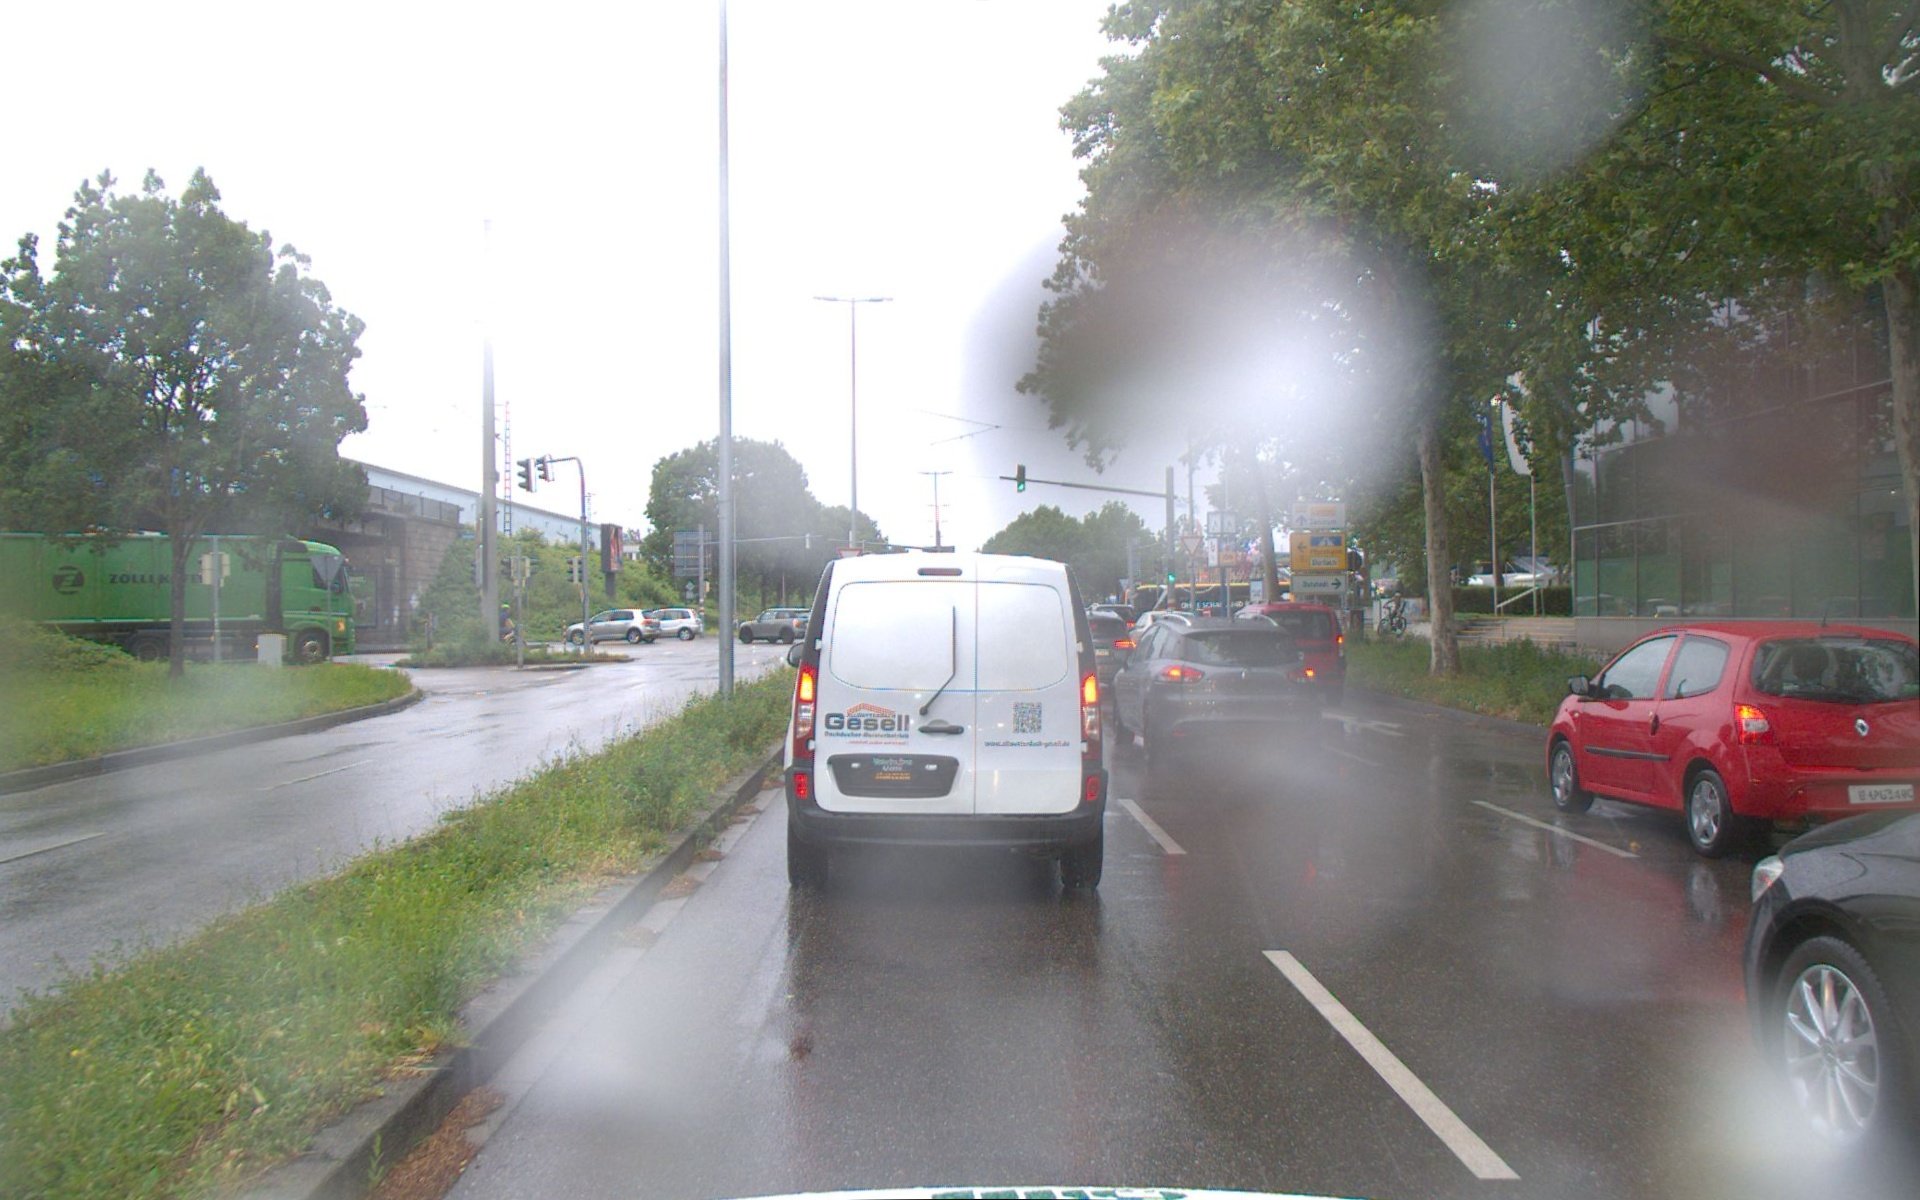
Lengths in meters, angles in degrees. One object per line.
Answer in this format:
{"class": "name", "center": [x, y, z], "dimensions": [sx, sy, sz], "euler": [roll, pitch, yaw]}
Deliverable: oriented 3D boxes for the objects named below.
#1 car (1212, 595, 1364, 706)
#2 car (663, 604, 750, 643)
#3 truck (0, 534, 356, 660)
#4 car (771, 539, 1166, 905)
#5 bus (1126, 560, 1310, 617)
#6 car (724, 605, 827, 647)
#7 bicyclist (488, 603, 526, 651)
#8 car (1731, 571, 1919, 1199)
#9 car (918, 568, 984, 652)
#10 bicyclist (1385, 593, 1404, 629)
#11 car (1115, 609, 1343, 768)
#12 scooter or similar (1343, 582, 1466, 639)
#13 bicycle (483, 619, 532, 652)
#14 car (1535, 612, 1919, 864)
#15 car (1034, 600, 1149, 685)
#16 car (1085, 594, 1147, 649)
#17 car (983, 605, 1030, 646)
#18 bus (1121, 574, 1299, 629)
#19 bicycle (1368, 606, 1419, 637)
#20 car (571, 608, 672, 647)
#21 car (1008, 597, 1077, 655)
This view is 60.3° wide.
{"class": "car", "center": [5.488, 0.828, 28.171], "dimensions": [1.676, 1.724, 4.271], "euler": [1, -1, -1]}
{"class": "car", "center": [-12.155, 1.142, 79.454], "dimensions": [3.908, 1.747, 1.998], "euler": [-2, -1, -4]}
{"class": "truck", "center": [-23.117, -0.096, 48.552], "dimensions": [9.956, 3.430, 2.316], "euler": [0, 0, -37]}
{"class": "car", "center": [0.016, 0.600, 10.489], "dimensions": [1.953, 1.807, 4.584], "euler": [0, 0, -1]}
{"class": "bus", "center": [16.859, -0.736, 108.467], "dimensions": [11.727, 3.483, 2.315], "euler": [-1, 0, -1]}
{"class": "car", "center": [-7.677, 1.059, 68.756], "dimensions": [4.106, 1.680, 1.793], "euler": [0, -1, 35]}
{"class": "bicyclist", "center": [-14.395, 0.844, 52.544], "dimensions": [1.028, 1.475, 0.723], "euler": [-1, 0, -25]}
{"class": "car", "center": [3.286, 0.721, 3.086], "dimensions": [1.712, 1.582, 4.089], "euler": [0, 0, -2]}
{"class": "car", "center": [-0.275, 0.272, 48.021], "dimensions": [1.816, 2.337, 3.842], "euler": [0, 0, -1]}
{"class": "bicyclist", "center": [17.410, 0.449, 66.226], "dimensions": [0.610, 1.444, 0.468], "euler": [-1, -1, 41]}
{"class": "car", "center": [2.677, 0.832, 17.257], "dimensions": [1.649, 1.433, 3.842], "euler": [1, 0, -2]}
{"class": "scooter or similar", "center": [20.062, 0.454, 74.834], "dimensions": [1.878, 2.489, 5.239], "euler": [0, 0, -41]}
{"class": "bicycle", "center": [-14.405, 1.120, 52.603], "dimensions": [1.027, 0.968, 2.866], "euler": [-1, 0, -25]}
{"class": "car", "center": [5.455, 0.847, 11.664], "dimensions": [1.537, 1.488, 3.388], "euler": [0, 0, -2]}
{"class": "car", "center": [2.407, 0.756, 31.145], "dimensions": [1.816, 1.486, 3.842], "euler": [0, 0, -1]}
{"class": "car", "center": [5.173, 0.699, 55.314], "dimensions": [1.673, 1.758, 3.842], "euler": [0, 0, -1]}
{"class": "car", "center": [1.908, 1.056, 69.136], "dimensions": [1.816, 1.678, 3.842], "euler": [0, -1, -1]}
{"class": "bus", "center": [16.960, 0.101, 112.434], "dimensions": [11.735, 3.483, 2.481], "euler": [-1, 0, -4]}
{"class": "bicycle", "center": [17.377, 0.866, 66.189], "dimensions": [0.610, 1.207, 3.356], "euler": [-1, -1, 40]}
{"class": "car", "center": [-14.529, 1.179, 71.094], "dimensions": [3.733, 1.570, 2.002], "euler": [-2, -1, 12]}
{"class": "car", "center": [2.441, 0.752, 49.518], "dimensions": [1.816, 1.678, 3.842], "euler": [0, 0, -1]}
